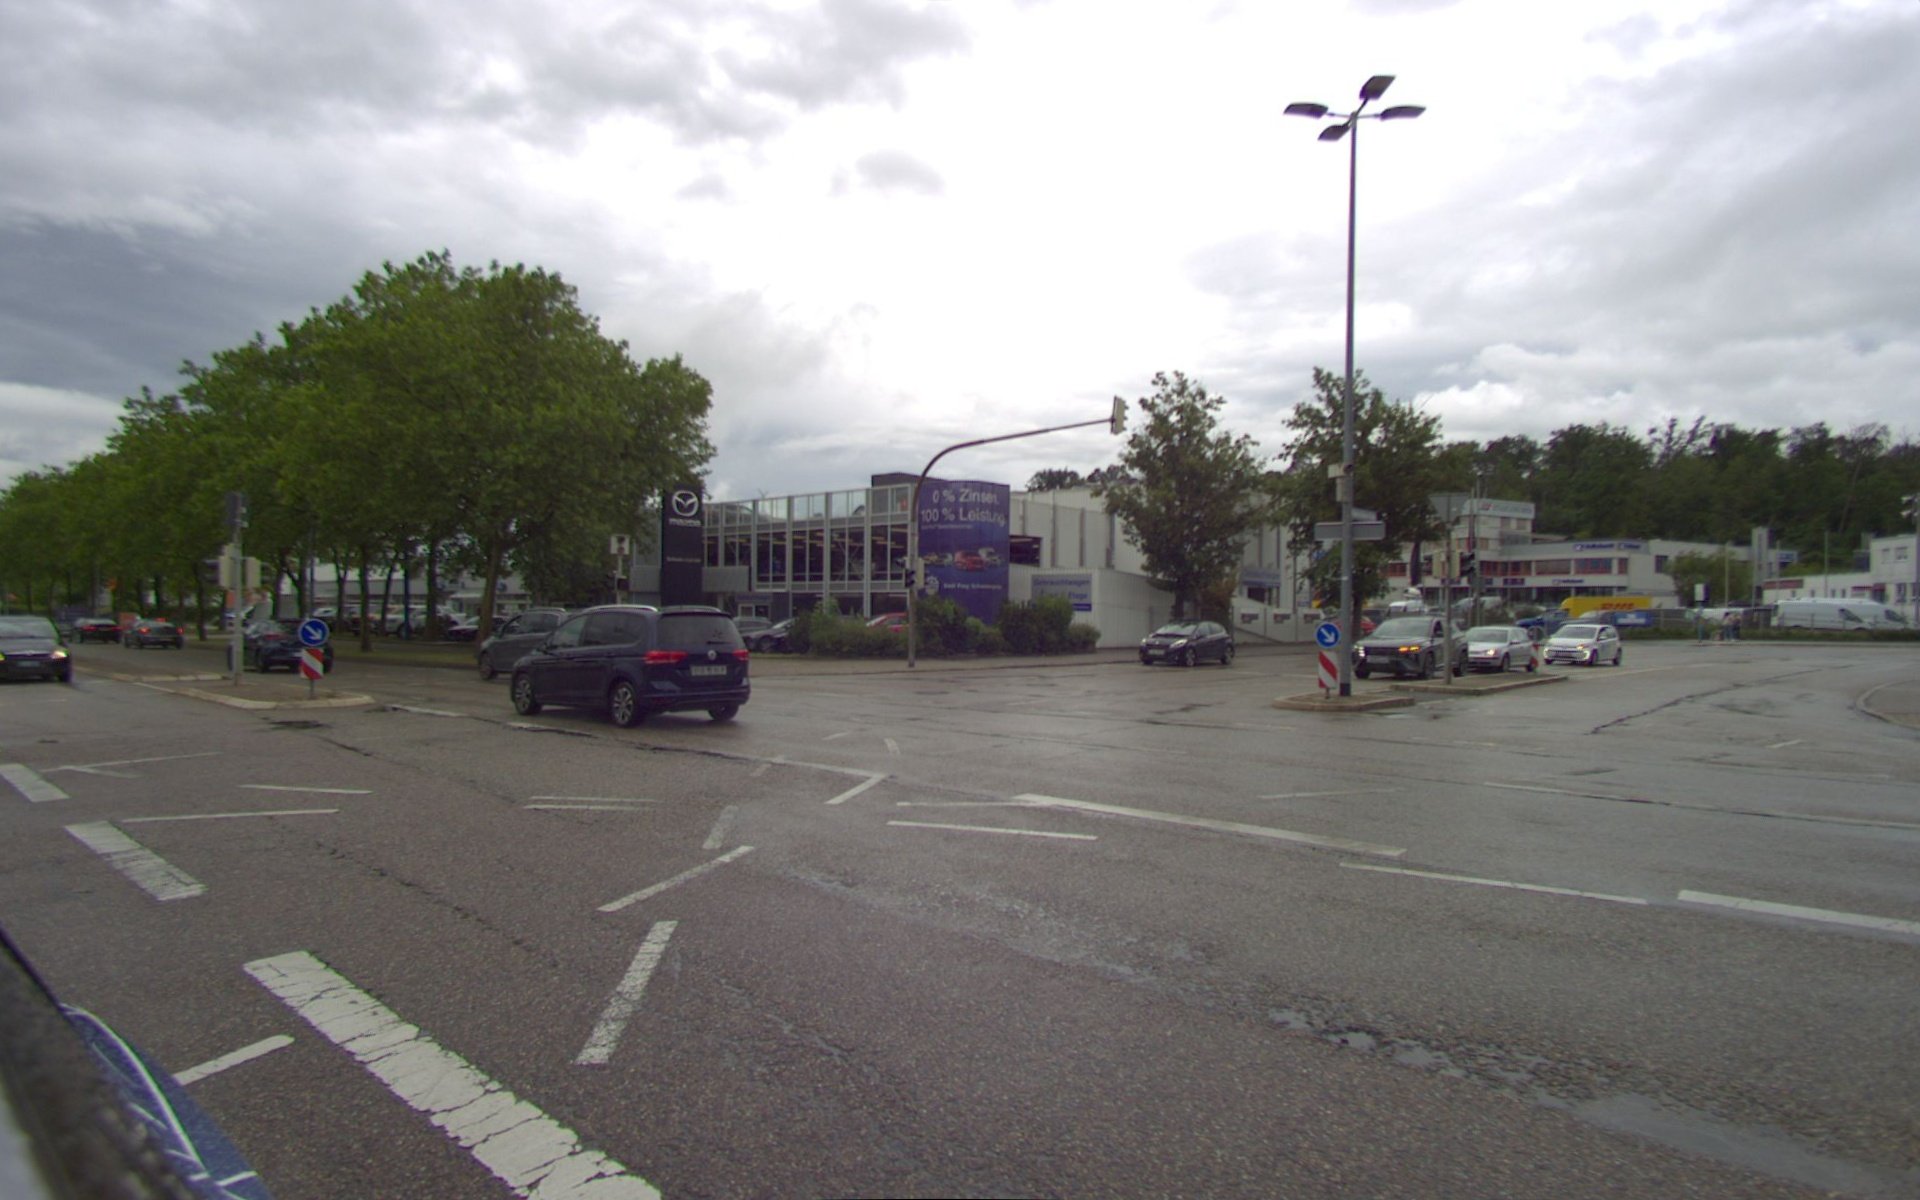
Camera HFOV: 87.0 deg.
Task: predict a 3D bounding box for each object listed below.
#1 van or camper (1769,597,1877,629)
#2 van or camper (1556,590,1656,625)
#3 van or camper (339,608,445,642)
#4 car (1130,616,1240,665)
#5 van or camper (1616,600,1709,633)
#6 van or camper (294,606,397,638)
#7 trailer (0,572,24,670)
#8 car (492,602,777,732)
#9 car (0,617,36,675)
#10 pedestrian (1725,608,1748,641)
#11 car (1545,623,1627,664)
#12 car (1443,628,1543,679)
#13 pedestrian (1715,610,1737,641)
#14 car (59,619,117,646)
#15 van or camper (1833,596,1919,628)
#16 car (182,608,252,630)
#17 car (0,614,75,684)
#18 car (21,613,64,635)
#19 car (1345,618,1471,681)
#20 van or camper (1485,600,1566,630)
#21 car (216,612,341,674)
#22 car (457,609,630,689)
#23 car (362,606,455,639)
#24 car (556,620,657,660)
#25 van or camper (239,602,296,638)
[{"bbox_3d":[56.224,0.881,66.058,5.044,2.029,1.979,-1,-2,30],"label":"van or camper"},{"bbox_3d":[45.657,0.595,71.580,5.720,2.374,1.913,-1,-2,41],"label":"van or camper"},{"bbox_3d":[-33.220,1.447,59.391,2.089,1.783,5.342,3,0,19],"label":"van or camper"},{"bbox_3d":[7.373,1.264,32.920,1.817,1.500,3.937,-1,-2,42],"label":"car"},{"bbox_3d":[44.764,1.085,64.577,1.824,2.061,4.593,1,-2,-44],"label":"van or camper"},{"bbox_3d":[-37.174,1.300,61.397,2.246,1.835,5.272,0,-1,16],"label":"van or camper"},{"bbox_3d":[-31.027,0.640,31.340,5.542,2.919,2.348,-1,-1,41],"label":"trailer"},{"bbox_3d":[-4.826,0.878,14.724,4.358,1.620,1.892,-1,-1,39],"label":"car"},{"bbox_3d":[-26.157,1.194,26.998,4.779,1.469,1.747,-1,-1,42],"label":"car"},{"bbox_3d":[45.231,1.440,58.951,0.711,1.900,0.748,0,-2,-14],"label":"pedestrian"},{"bbox_3d":[22.790,1.539,36.791,3.333,1.410,1.506,1,-2,-39],"label":"car"},{"bbox_3d":[16.343,1.585,30.977,1.878,1.410,3.648,-1,-2,42],"label":"car"},{"bbox_3d":[44.478,1.495,58.780,0.523,1.793,0.869,0,-2,-14],"label":"pedestrian"},{"bbox_3d":[-47.376,1.765,54.967,4.170,1.393,1.693,-1,-3,40],"label":"car"},{"bbox_3d":[60.719,0.798,66.925,4.224,2.029,1.806,-1,0,29],"label":"van or camper"},{"bbox_3d":[-71.225,1.787,97.065,2.128,2.029,4.994,-1,-1,40],"label":"car"},{"bbox_3d":[-21.790,1.079,23.240,4.076,1.501,1.695,-1,-2,42],"label":"car"},{"bbox_3d":[-63.636,1.686,70.173,4.082,1.476,1.692,-1,-2,40],"label":"car"},{"bbox_3d":[11.877,1.242,26.686,1.878,1.500,4.104,-1,-2,42],"label":"car"},{"bbox_3d":[38.882,1.054,69.629,4.760,2.029,1.960,-1,-2,30],"label":"van or camper"},{"bbox_3d":[-18.723,1.152,27.748,3.995,1.592,1.694,-1,-2,38],"label":"car"},{"bbox_3d":[-10.106,1.120,24.372,4.881,1.740,1.891,-1,-2,41],"label":"car"},{"bbox_3d":[-30.979,1.252,56.978,1.984,1.829,4.440,0,-1,19],"label":"car"},{"bbox_3d":[-16.069,1.770,46.293,1.984,1.608,4.540,0,0,19],"label":"car"},{"bbox_3d":[-50.455,1.429,73.657,6.400,2.489,1.972,-1,0,42],"label":"van or camper"}]
